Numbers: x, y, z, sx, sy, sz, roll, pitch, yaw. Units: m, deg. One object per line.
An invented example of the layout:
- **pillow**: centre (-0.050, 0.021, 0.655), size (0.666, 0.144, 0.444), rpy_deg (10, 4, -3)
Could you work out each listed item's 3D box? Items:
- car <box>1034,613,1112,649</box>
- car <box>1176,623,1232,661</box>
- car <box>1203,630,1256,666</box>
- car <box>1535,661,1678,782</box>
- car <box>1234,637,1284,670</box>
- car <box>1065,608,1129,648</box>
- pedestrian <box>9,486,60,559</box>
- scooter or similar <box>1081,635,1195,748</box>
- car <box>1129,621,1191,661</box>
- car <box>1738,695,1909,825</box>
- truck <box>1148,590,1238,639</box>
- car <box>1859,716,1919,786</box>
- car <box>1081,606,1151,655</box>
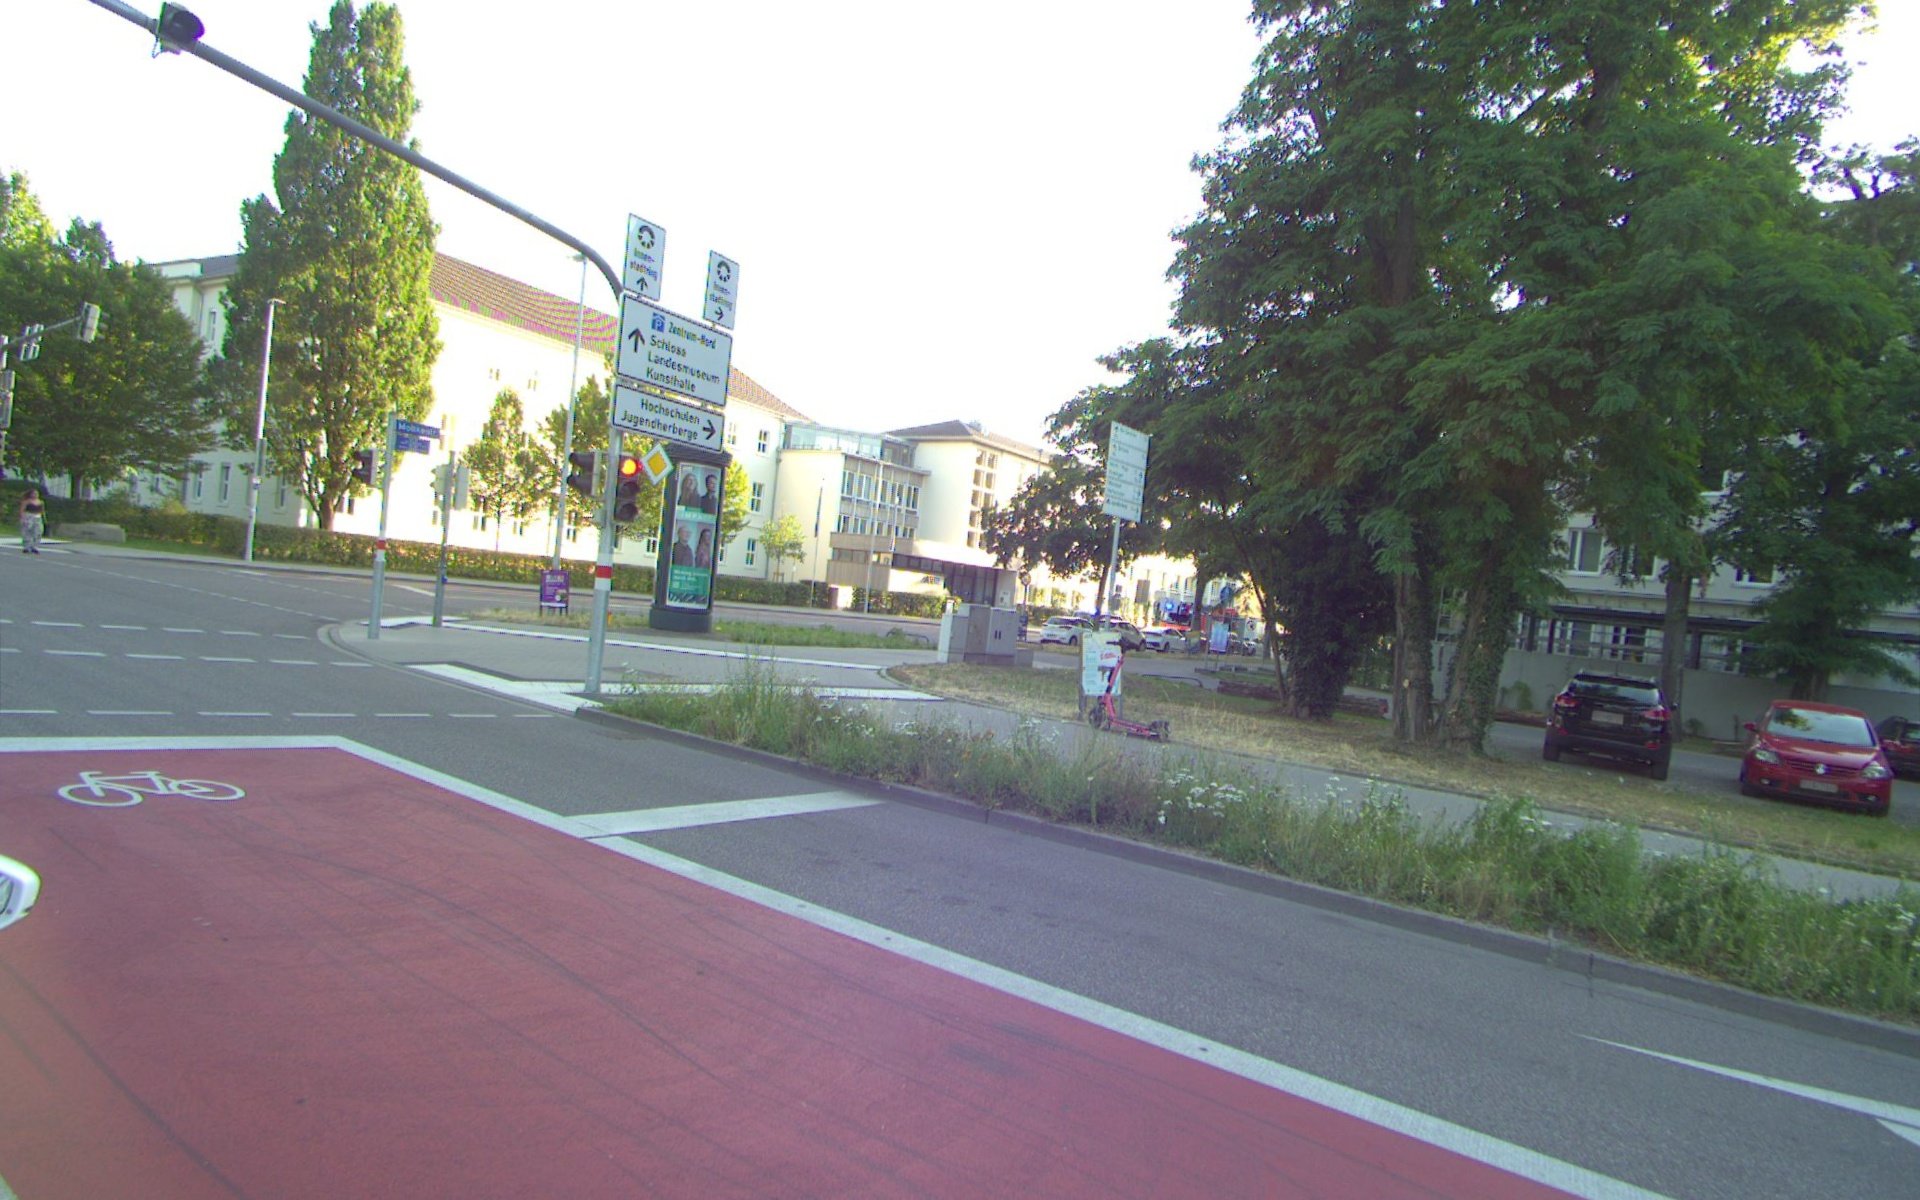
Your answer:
- **car**: centre (5.404, 1.489, 47.737), size (1.793, 1.358, 3.985), rpy_deg (6, 0, 37)
- **car**: centre (14.532, 2.502, 59.758), size (1.698, 1.879, 3.989), rpy_deg (7, -1, 35)
- **car**: centre (17.147, 3.041, 63.888), size (1.789, 1.893, 4.136), rpy_deg (7, -1, 35)
- **car**: centre (11.690, 2.130, 18.094), size (1.808, 1.715, 3.899), rpy_deg (7, -1, 36)
- **car**: centre (20.295, 3.669, 68.266), size (1.873, 1.831, 3.988), rpy_deg (7, -1, 36)
- **car**: centre (7.567, 1.573, 55.208), size (1.720, 1.783, 3.989), rpy_deg (7, -1, 35)
- **pedestrian**: centre (-22.844, -1.909, 24.842), size (0.679, 1.656, 0.601), rpy_deg (8, 1, 27)
- **scooter or similar**: centre (2.255, 1.143, 12.837), size (1.289, 1.247, 0.311), rpy_deg (7, 1, 32)
- **car**: centre (10.999, 2.272, 55.135), size (1.720, 1.783, 3.989), rpy_deg (7, -1, 35)
- **car**: centre (13.918, 2.478, 16.433), size (1.759, 1.581, 3.984), rpy_deg (7, 0, 38)
- **truck**: centre (15.788, 1.066, 67.492), size (2.327, 2.315, 10.050), rpy_deg (7, -1, 34)
- **car**: centre (23.102, 3.657, 24.063), size (1.873, 1.459, 3.987), rpy_deg (7, -1, 37)
- **car**: centre (7.992, 1.584, 51.218), size (1.713, 2.038, 3.988), rpy_deg (7, -1, 36)
